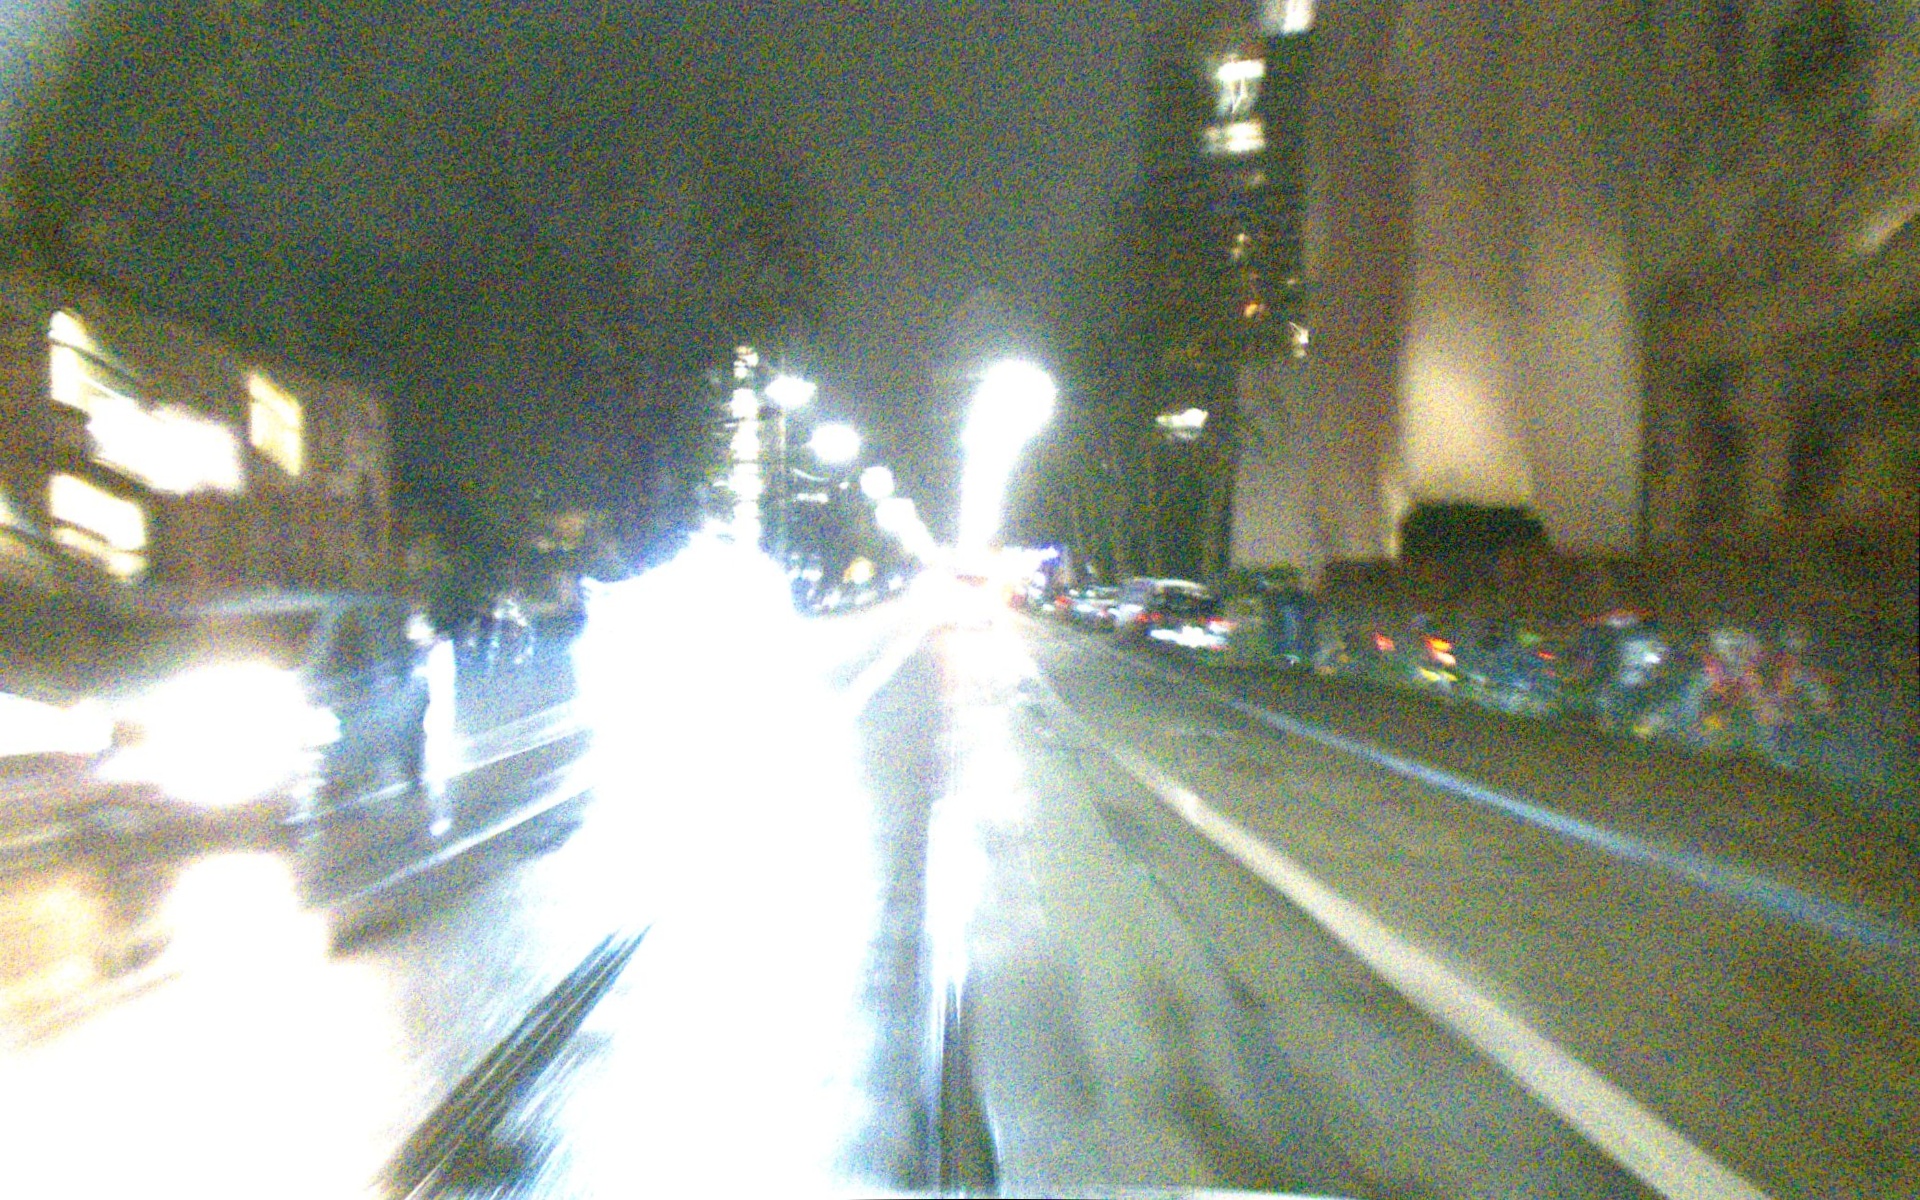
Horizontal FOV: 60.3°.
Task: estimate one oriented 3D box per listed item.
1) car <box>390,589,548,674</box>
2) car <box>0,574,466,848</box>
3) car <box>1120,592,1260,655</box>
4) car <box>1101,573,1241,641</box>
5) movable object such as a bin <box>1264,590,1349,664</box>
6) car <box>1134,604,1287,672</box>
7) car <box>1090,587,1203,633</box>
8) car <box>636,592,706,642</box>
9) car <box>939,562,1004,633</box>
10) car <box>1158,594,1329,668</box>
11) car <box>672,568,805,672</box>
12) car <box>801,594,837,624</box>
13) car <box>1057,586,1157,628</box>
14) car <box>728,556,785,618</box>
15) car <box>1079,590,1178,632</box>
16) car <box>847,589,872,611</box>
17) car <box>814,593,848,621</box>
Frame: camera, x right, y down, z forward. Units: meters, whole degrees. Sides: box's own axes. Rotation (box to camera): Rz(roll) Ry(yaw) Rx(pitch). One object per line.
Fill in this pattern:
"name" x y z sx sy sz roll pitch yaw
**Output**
"car" -9.060 0.575 30.816 1.634 1.411 4.001 3 -1 1
"car" -4.835 0.601 11.318 1.617 1.505 4.205 -1 1 0
"car" 5.938 0.618 42.432 1.574 1.463 3.807 2 0 45
"car" 6.397 0.234 50.003 4.138 1.871 1.933 2 0 -42
"movable object such as a bin" 6.886 0.528 32.885 1.328 1.432 1.021 0 0 -20
"car" 5.933 0.865 38.983 1.775 1.514 3.833 1 0 42
"car" 6.418 0.317 56.557 1.662 1.428 4.432 2 2 41
"car" -9.004 0.510 51.696 1.577 1.453 3.807 2 0 -2
"car" 0.371 -0.106 61.755 2.172 2.484 5.382 1 0 -2
"car" 6.211 0.698 36.073 3.759 1.483 1.743 2 0 -43
"car" -4.221 0.332 32.198 1.898 1.847 4.385 -1 1 1
"car" -9.078 0.586 106.724 2.066 1.795 4.963 3 -1 -3
"car" 5.882 0.303 66.035 3.855 1.560 1.794 2 0 -42
"car" -8.985 -0.594 73.353 1.984 2.542 5.605 3 0 -3
"car" 6.489 0.434 63.399 1.791 1.458 3.829 2 0 44
"car" -8.876 0.035 146.278 1.981 1.791 3.999 3 -1 -1
"car" -8.954 0.482 115.152 1.959 1.816 3.999 3 -1 0
